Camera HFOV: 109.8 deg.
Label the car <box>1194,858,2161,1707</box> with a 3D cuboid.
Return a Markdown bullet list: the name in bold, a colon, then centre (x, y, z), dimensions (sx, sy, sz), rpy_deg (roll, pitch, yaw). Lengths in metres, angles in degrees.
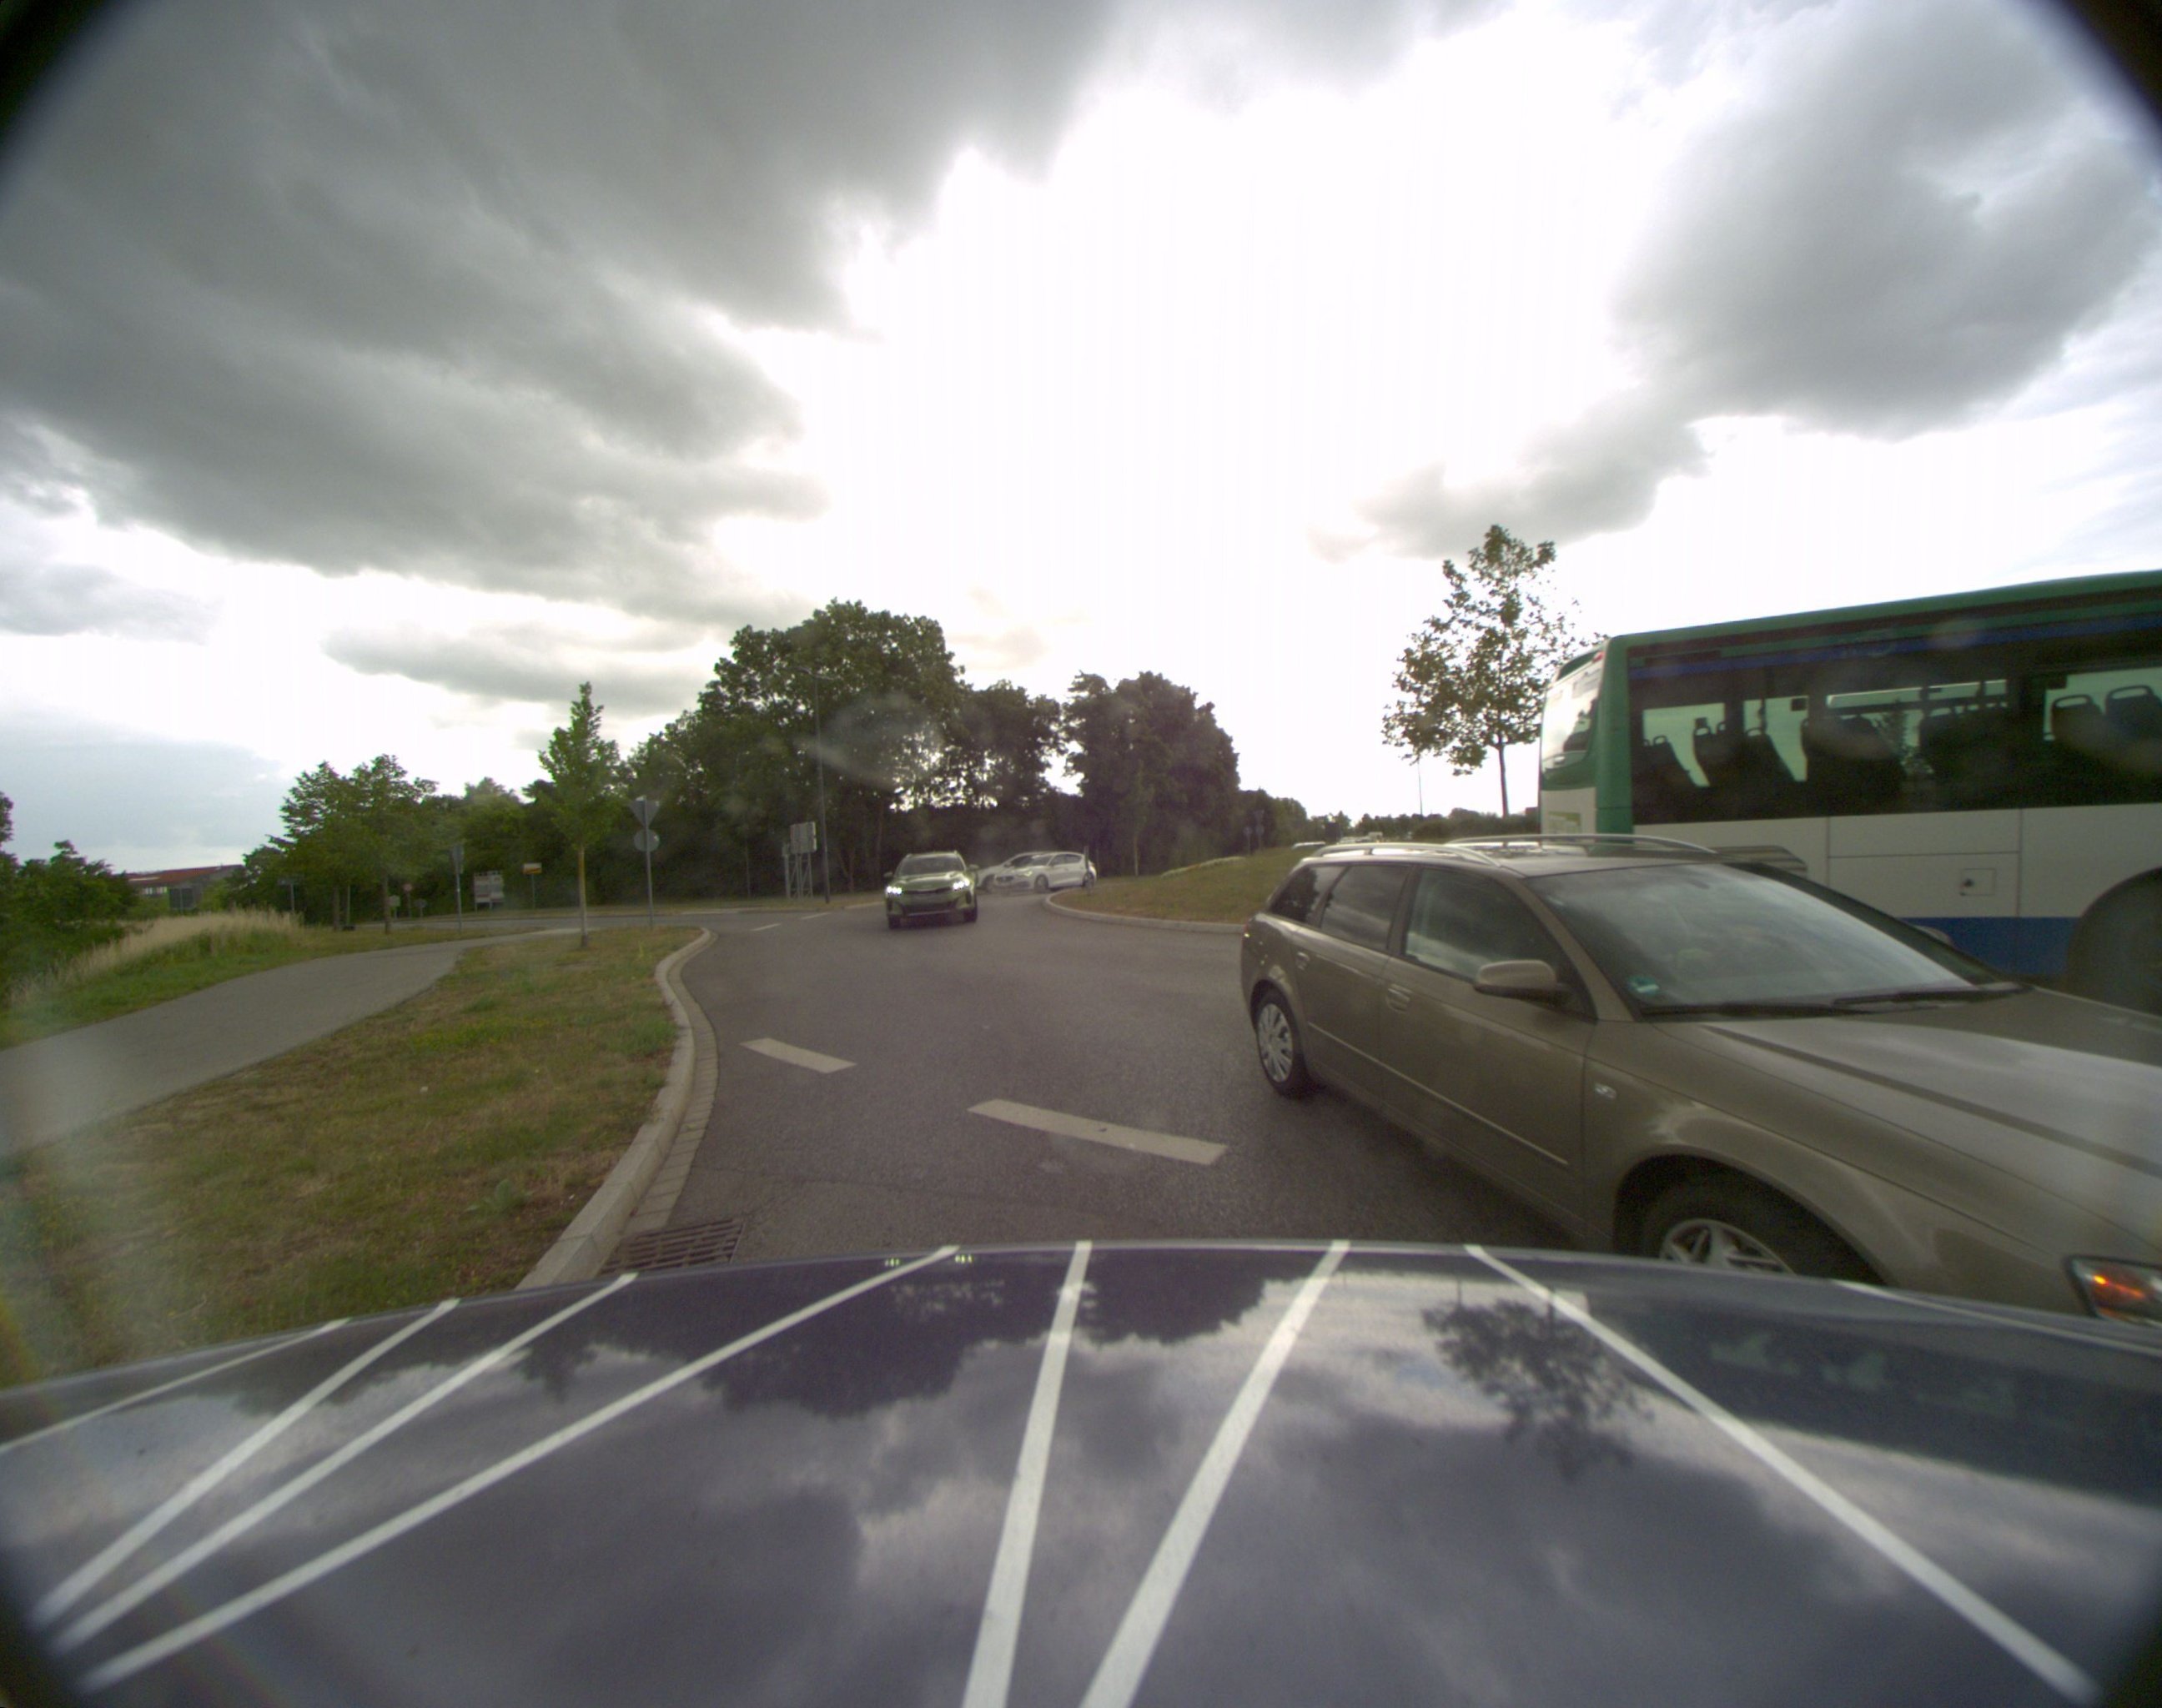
- **car**: centre (2.106, 0.802, 3.073), dimensions (1.783, 1.456, 4.536), rpy_deg (-3, 1, -11)

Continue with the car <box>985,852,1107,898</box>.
- **car**: centre (-1.137, 0.719, 26.909), dimensions (1.921, 1.319, 4.282), rpy_deg (-3, 1, 38)

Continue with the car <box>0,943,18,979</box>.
- **car**: centre (-48.367, 4.741, 31.999), dimensions (3.896, 1.455, 1.693), rpy_deg (-4, 1, -45)

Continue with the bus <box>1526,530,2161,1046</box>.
- **bus**: centre (6.925, -0.426, 6.082), dimensions (5.448, 3.240, 2.528), rpy_deg (-1, 1, 22)

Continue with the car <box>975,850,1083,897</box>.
- **car**: centre (-2.249, 0.789, 32.247), dimensions (4.274, 1.592, 1.925), rpy_deg (-5, 1, -10)

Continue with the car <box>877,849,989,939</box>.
- **car**: centre (-3.393, 0.725, 16.650), dimensions (1.927, 1.494, 4.873), rpy_deg (-5, 2, -15)

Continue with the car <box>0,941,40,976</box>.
- **car**: centre (-51.170, 4.973, 34.768), dimensions (3.896, 1.455, 1.693), rpy_deg (-4, 1, -45)

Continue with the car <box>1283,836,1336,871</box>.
- **car**: centre (12.049, -0.056, 39.894), dimensions (1.777, 1.532, 4.006), rpy_deg (-3, 1, 30)
